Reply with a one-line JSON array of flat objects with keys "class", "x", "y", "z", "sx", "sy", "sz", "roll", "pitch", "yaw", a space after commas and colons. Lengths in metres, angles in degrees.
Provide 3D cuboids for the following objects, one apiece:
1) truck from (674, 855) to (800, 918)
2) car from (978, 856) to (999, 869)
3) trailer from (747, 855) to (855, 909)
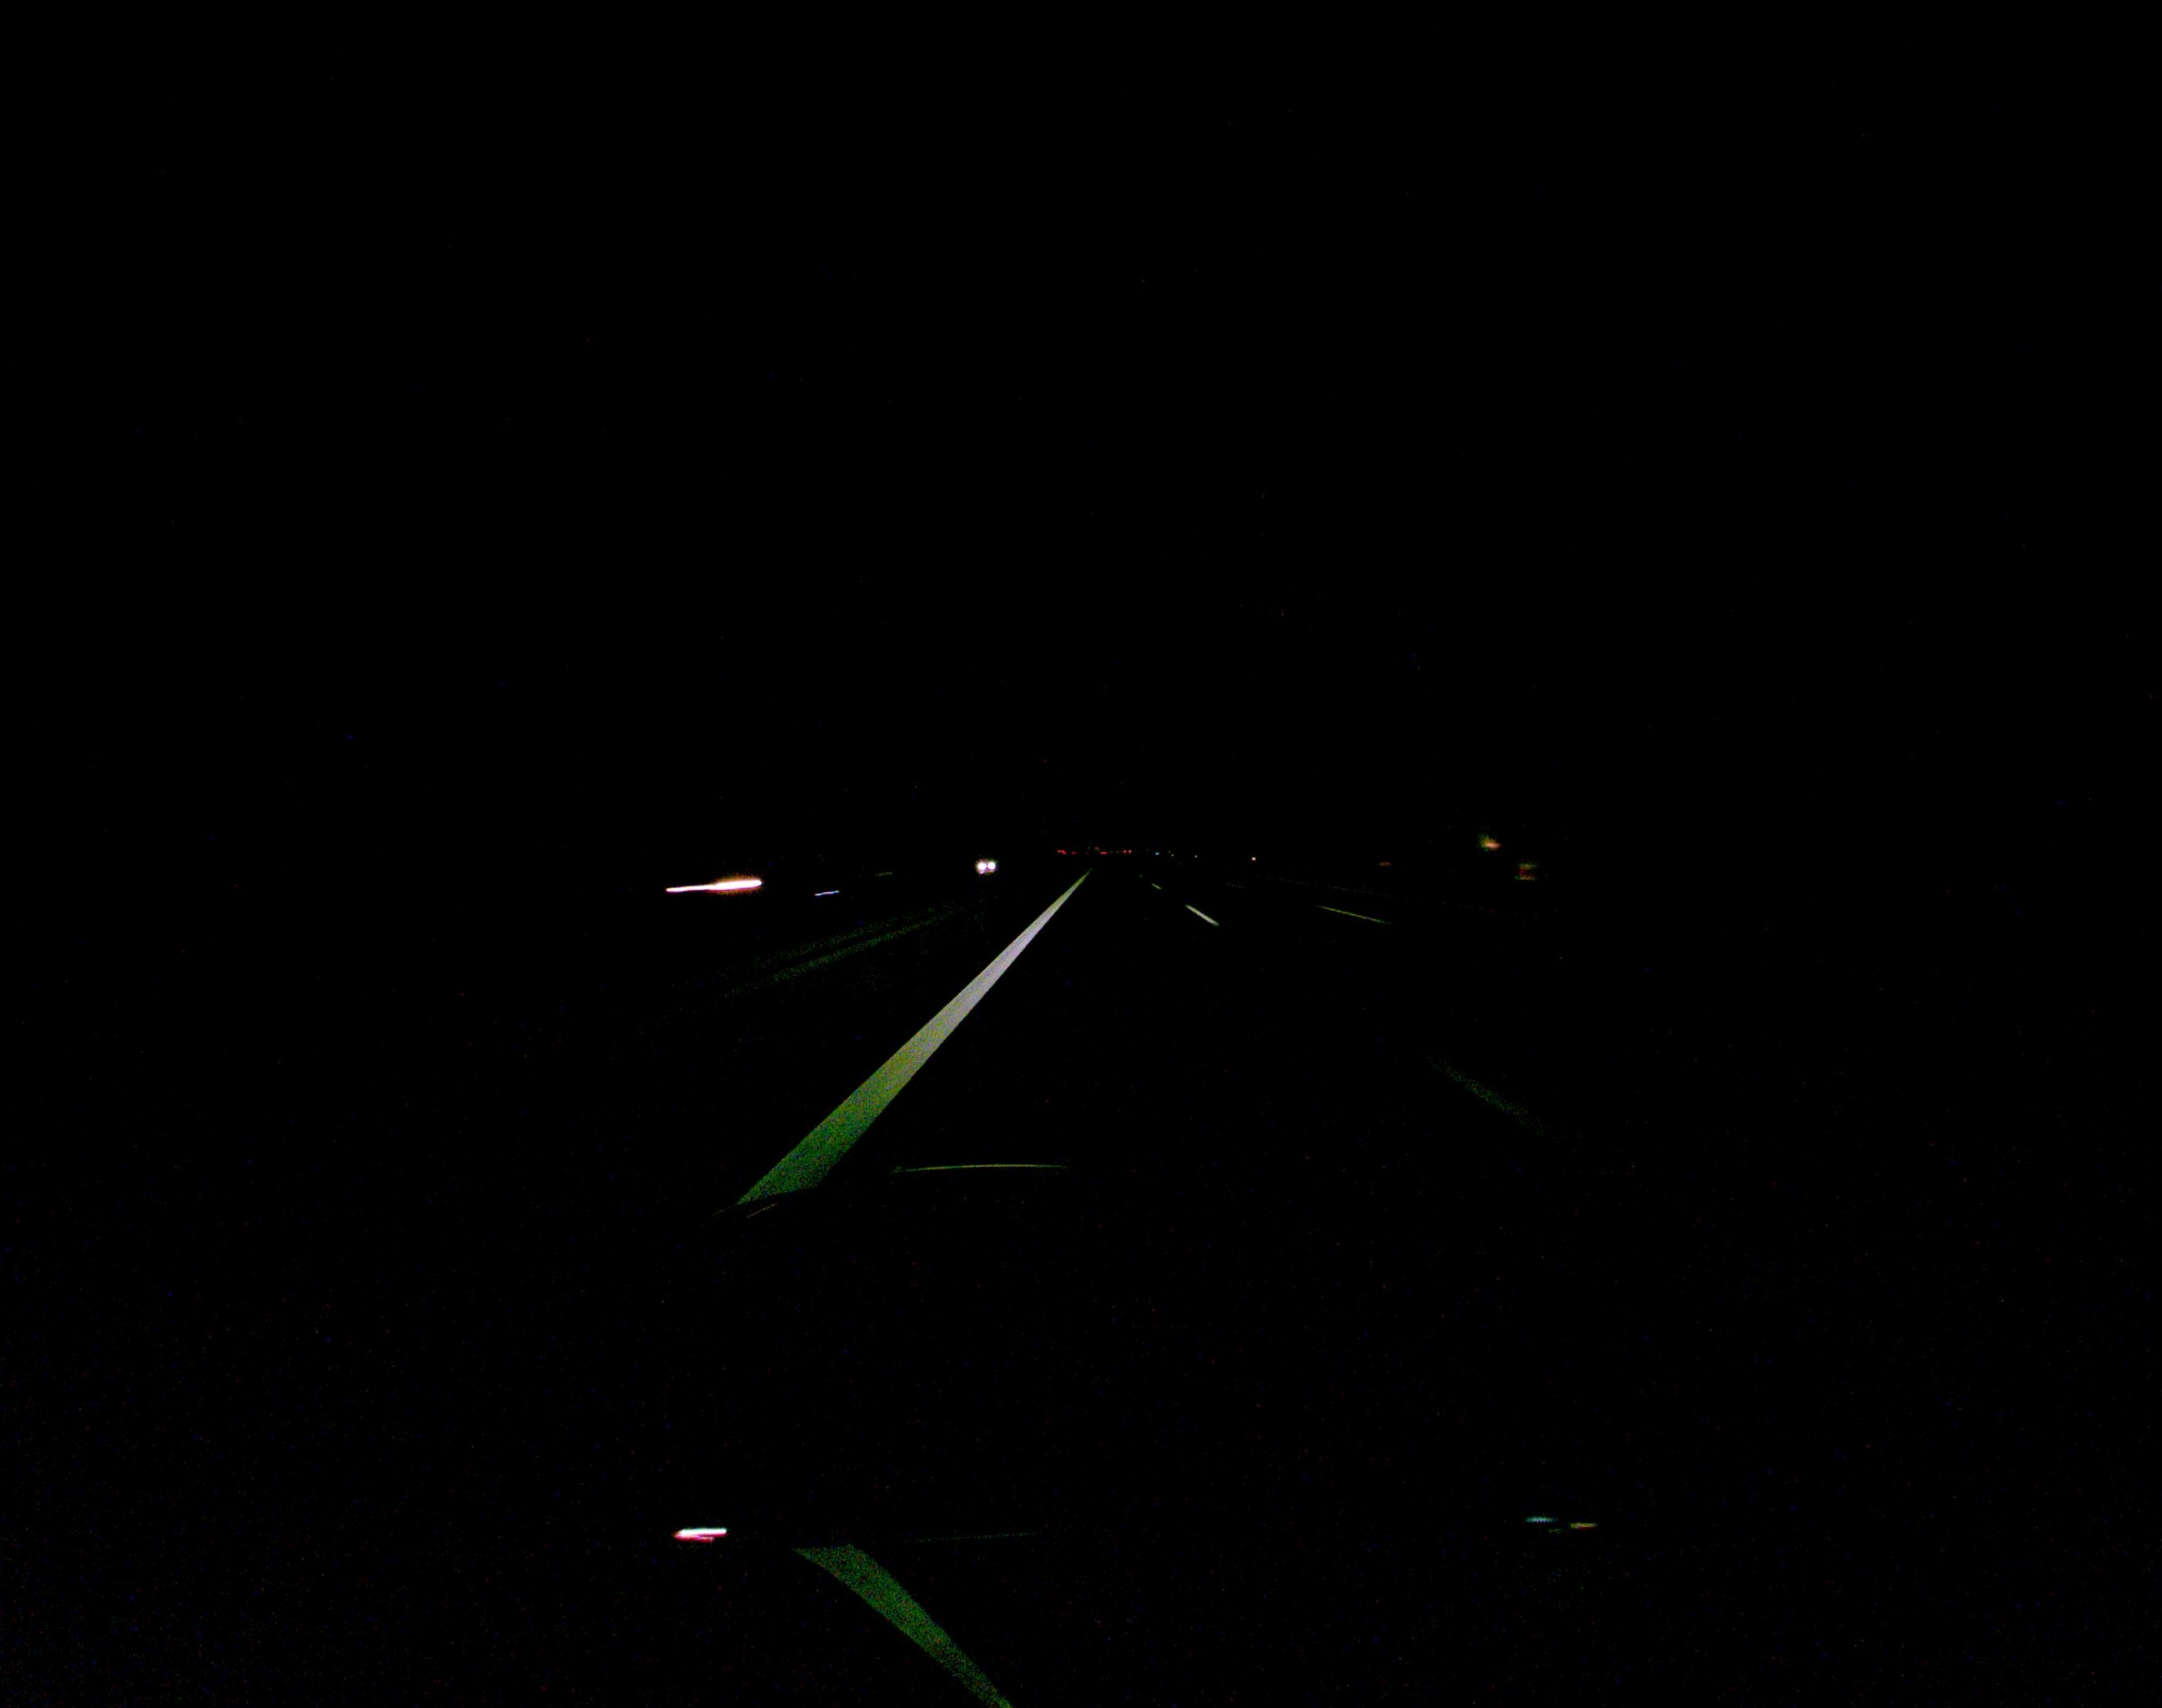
[{"class": "truck", "x": -11.932, "y": 1.061, "z": 28.724, "sx": 1.986, "sy": 1.942, "sz": 5.243, "roll": -3, "pitch": -1, "yaw": 2}, {"class": "car", "x": -12.606, "y": 1.164, "z": 111.312, "sx": 1.986, "sy": 1.503, "sz": 5.203, "roll": -3, "pitch": 0, "yaw": 2}, {"class": "trailer", "x": -11.693, "y": 1.080, "z": 34.626, "sx": 1.986, "sy": 1.940, "sz": 6.625, "roll": -3, "pitch": 0, "yaw": 2}]
